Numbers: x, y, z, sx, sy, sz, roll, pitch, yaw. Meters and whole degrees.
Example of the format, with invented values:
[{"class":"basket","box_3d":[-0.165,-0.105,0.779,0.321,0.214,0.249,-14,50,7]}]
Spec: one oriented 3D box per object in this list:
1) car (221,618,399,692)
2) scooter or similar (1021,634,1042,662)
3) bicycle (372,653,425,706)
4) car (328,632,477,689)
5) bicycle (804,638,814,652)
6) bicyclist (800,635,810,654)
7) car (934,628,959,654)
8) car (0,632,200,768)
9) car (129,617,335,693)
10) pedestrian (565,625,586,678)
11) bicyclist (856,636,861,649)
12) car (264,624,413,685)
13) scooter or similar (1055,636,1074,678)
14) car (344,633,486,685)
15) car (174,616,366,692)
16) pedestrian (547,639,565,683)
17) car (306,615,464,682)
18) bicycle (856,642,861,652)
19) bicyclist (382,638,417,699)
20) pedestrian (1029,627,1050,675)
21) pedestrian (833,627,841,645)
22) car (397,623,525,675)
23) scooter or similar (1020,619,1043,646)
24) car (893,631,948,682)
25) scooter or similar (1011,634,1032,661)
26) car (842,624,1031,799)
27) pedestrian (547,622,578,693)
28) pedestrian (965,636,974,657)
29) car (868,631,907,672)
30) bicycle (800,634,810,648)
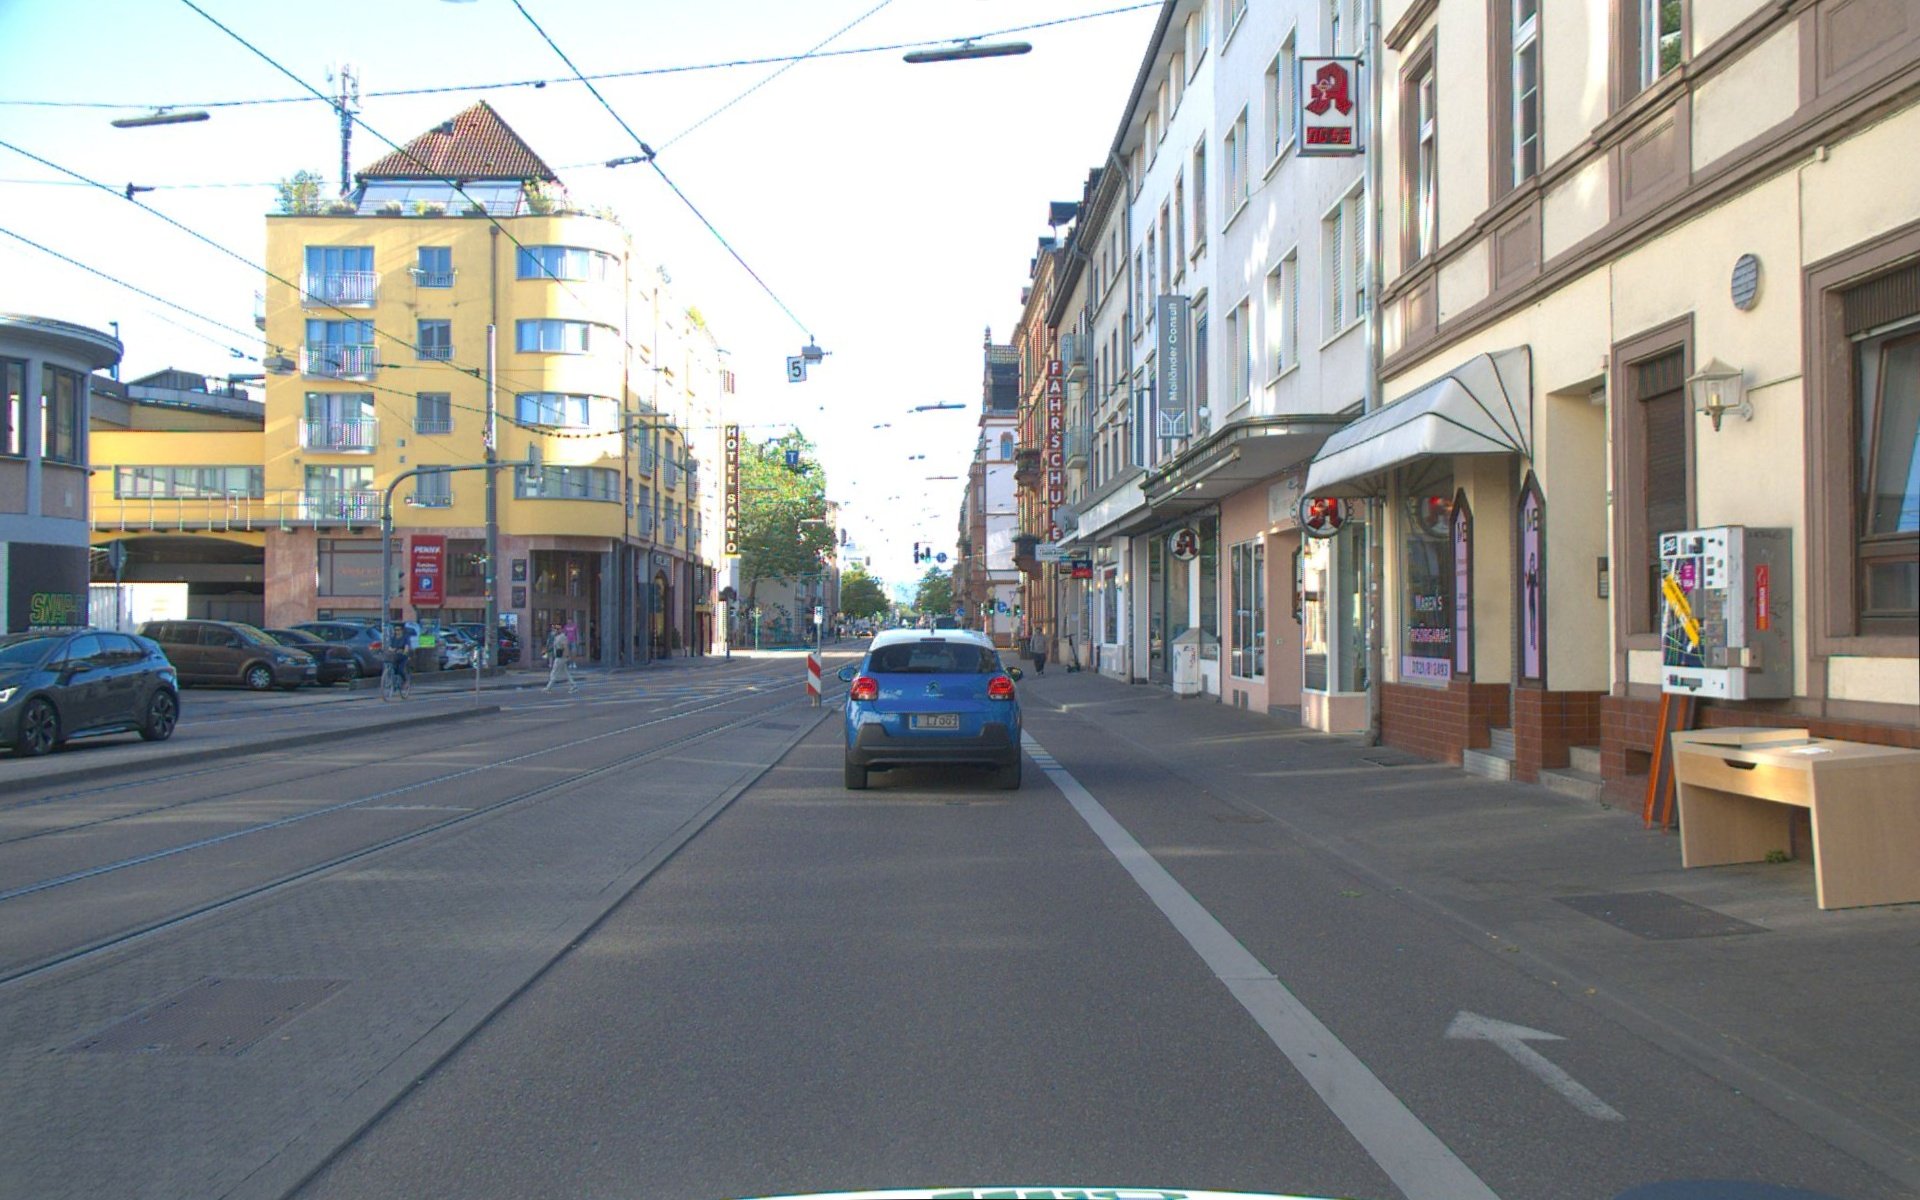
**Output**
[{"class":"car","box_3d":[-17.710,1.514,45.204,4.148,1.844,1.784,-2,-2,-2]},{"class":"scooter or similar","box_3d":[3.244,2.178,75.016,0.775,1.168,0.789,-5,-1,-3]},{"class":"bicycle","box_3d":[-12.806,1.796,37.782,0.552,1.143,2.003,0,-1,-1]},{"class":"car","box_3d":[-17.747,1.937,52.803,4.148,1.638,1.784,-2,-3,-2]},{"class":"bicycle","box_3d":[-12.176,3.620,133.509,0.716,1.084,2.060,0,-1,-3]},{"class":"bicyclist","box_3d":[-12.037,3.463,128.160,0.709,1.405,1.227,1,0,-3]},{"class":"car","box_3d":[-1.341,3.897,157.511,2.225,2.479,5.717,-1,-1,-2]},{"class":"car","box_3d":[-11.833,1.233,21.419,1.742,1.567,4.269,-2,-1,4]},{"class":"car","box_3d":[-17.591,1.324,40.094,4.148,1.794,1.784,0,-1,-2]},{"class":"pedestrian","box_3d":[-14.730,1.967,63.391,0.624,1.981,0.709,-1,-2,-3]},{"class":"bicyclist","box_3d":[-12.471,5.243,203.183,0.669,1.509,0.778,-1,-1,-3]},{"class":"car","box_3d":[-17.910,1.557,47.773,3.615,1.702,1.785,0,-1,-1]},{"class":"scooter or similar","box_3d":[3.356,1.826,53.062,0.401,1.304,1.284,-1,-1,14]},{"class":"car","box_3d":[-18.202,1.991,55.354,4.148,1.575,1.784,-2,-3,-2]},{"class":"car","box_3d":[-17.629,1.399,42.383,4.148,1.844,1.784,-1,-3,-2]},{"class":"pedestrian","box_3d":[-15.453,2.336,63.227,0.560,1.646,0.499,-1,-2,-3]},{"class":"car","box_3d":[-17.342,1.482,50.031,4.148,1.844,1.784,-2,-3,-2]},{"class":"bicycle","box_3d":[-12.478,5.776,203.300,0.679,1.140,2.082,-1,-1,-2]},{"class":"bicyclist","box_3d":[-12.817,1.557,37.814,0.551,1.385,0.718,0,-1,-1]},{"class":"pedestrian","box_3d":[2.604,1.664,54.156,0.635,1.588,0.781,0,-1,-3]},{"class":"pedestrian","box_3d":[-12.694,3.729,170.855,0.668,1.796,1.026,0,-1,9]},{"class":"car","box_3d":[-18.277,1.805,60.652,4.148,1.844,1.784,0,-2,-2]},{"class":"scooter or similar","box_3d":[3.314,1.502,76.592,0.915,1.168,0.650,-5,-1,-4]},{"class":"car","box_3d":[-1.271,1.752,52.280,1.634,1.504,3.997,-1,-1,-3]},{"class":"scooter or similar","box_3d":[2.890,2.238,77.636,0.880,1.168,0.547,-5,-1,-4]},{"class":"car","box_3d":[-0.239,1.034,16.817,1.640,1.503,3.999,-2,-1,-1]},{"class":"pedestrian","box_3d":[-10.230,1.470,42.580,0.700,1.795,0.778,0,-1,-8]},{"class":"pedestrian","box_3d":[0.798,4.001,141.837,0.691,1.814,0.672,2,-4,-4]},{"class":"car","box_3d":[-3.770,2.668,85.818,1.954,2.049,3.997,-1,-1,-3]},{"class":"bicycle","box_3d":[-12.026,3.169,128.131,0.716,1.107,2.060,0,-1,-3]}]
